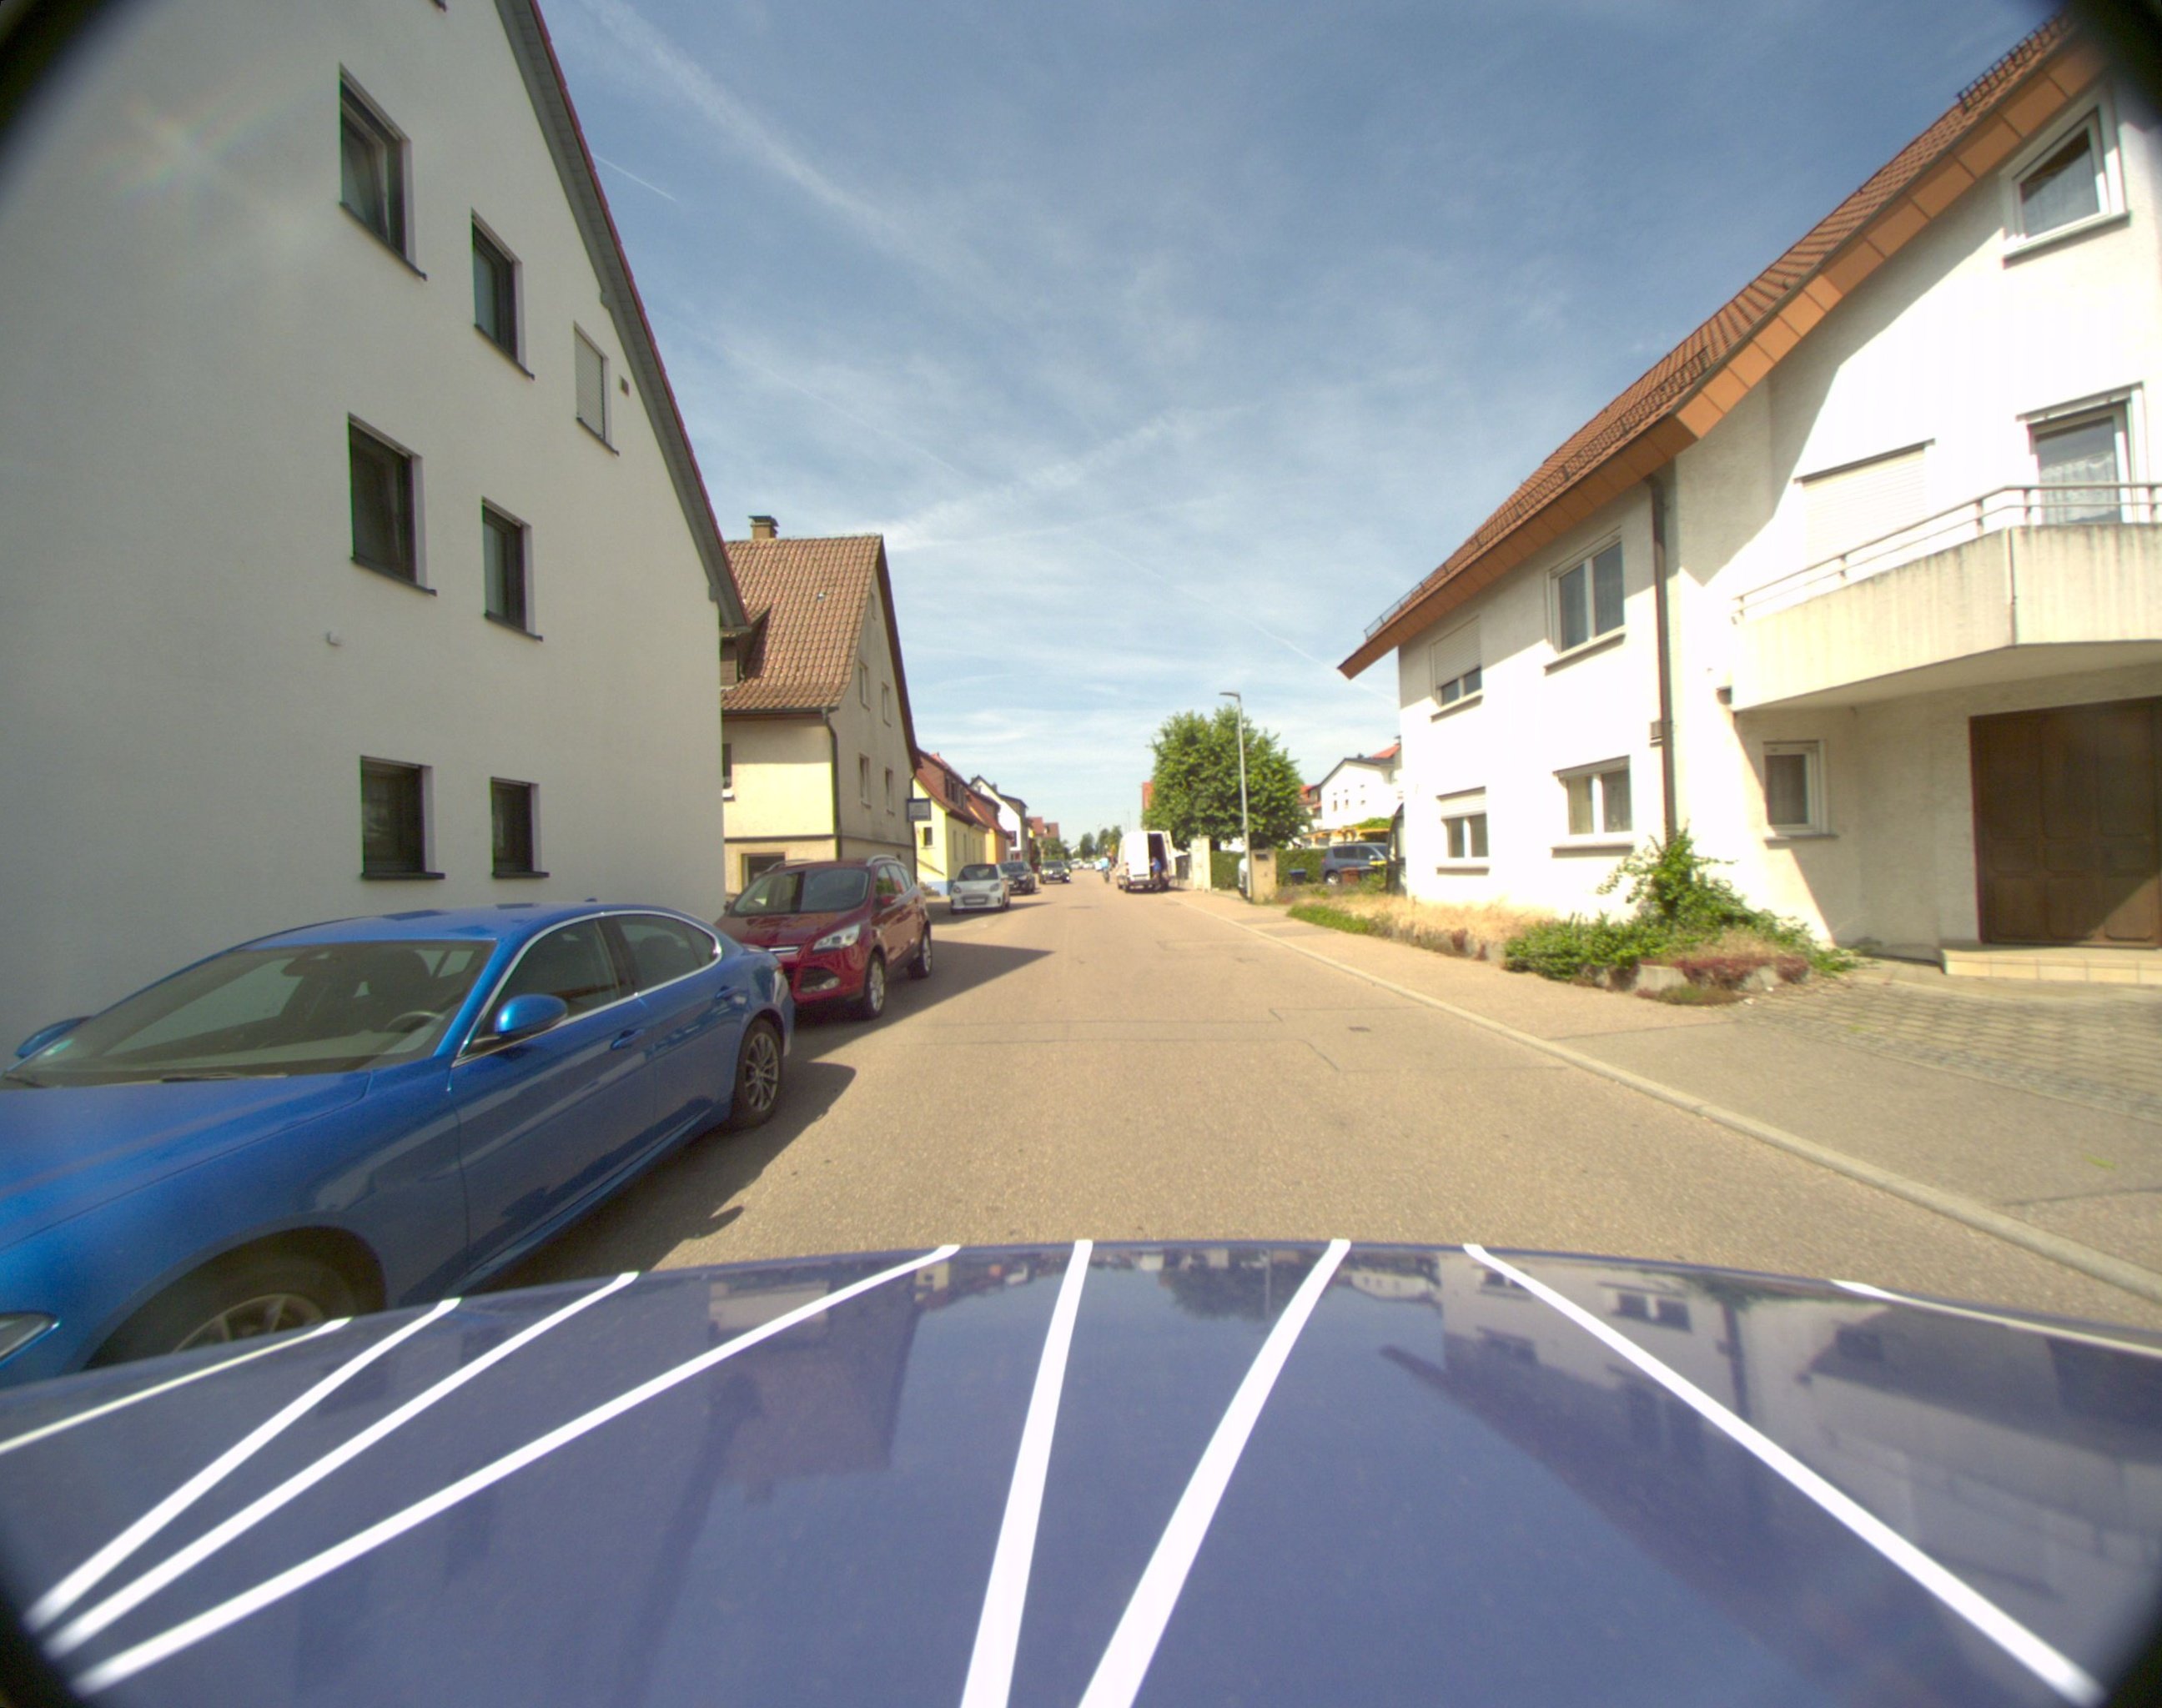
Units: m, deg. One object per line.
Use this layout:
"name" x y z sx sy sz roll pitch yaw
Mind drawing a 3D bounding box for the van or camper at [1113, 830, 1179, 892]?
"van or camper" 2.934 0.310 35.977 2.190 2.556 6.806 -3 0 -2

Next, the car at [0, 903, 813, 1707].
"car" -2.853 1.096 3.090 1.767 1.415 4.592 -3 0 1

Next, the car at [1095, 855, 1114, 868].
"car" 2.864 0.895 92.264 1.927 1.390 4.496 -2 0 6

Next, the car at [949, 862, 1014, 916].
"car" -3.173 1.073 24.703 1.678 1.550 3.040 -3 0 -1

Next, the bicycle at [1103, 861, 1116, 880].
"bicycle" 1.826 1.053 48.564 0.672 1.126 2.190 -2 0 4

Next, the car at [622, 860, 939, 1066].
"car" -3.025 0.974 8.752 1.880 1.690 4.183 -3 0 0

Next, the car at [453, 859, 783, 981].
"car" -7.983 1.083 13.495 4.528 1.832 1.999 -2 0 -3

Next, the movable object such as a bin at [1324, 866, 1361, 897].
"movable object such as a bin" 7.933 0.832 23.083 0.802 0.900 0.773 -2 0 -1

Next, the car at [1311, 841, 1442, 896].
"car" 9.896 0.468 25.762 1.776 1.668 3.931 -2 0 -26

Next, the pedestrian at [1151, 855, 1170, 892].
"pedestrian" 3.356 0.819 32.168 0.574 1.509 0.726 -5 1 -2

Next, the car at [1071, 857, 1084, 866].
"car" -0.546 1.203 123.102 1.755 1.412 4.421 -3 0 3

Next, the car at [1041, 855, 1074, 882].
"car" -1.557 0.955 51.132 1.838 1.637 4.324 -3 0 2

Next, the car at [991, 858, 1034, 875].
"car" -7.521 1.359 83.220 4.302 1.643 1.849 -3 0 8

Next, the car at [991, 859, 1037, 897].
"car" -3.122 1.067 36.087 1.733 1.590 4.253 -3 0 0

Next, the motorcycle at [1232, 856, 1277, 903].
"motorcycle" 5.466 0.762 24.066 0.785 1.385 2.352 -2 0 -1

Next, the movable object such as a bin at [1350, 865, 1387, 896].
"movable object such as a bin" 8.745 0.799 23.112 0.802 0.900 0.773 -2 0 -1

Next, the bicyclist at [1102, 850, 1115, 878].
"bicyclist" 1.751 0.636 48.567 0.714 1.788 0.942 -2 0 6
